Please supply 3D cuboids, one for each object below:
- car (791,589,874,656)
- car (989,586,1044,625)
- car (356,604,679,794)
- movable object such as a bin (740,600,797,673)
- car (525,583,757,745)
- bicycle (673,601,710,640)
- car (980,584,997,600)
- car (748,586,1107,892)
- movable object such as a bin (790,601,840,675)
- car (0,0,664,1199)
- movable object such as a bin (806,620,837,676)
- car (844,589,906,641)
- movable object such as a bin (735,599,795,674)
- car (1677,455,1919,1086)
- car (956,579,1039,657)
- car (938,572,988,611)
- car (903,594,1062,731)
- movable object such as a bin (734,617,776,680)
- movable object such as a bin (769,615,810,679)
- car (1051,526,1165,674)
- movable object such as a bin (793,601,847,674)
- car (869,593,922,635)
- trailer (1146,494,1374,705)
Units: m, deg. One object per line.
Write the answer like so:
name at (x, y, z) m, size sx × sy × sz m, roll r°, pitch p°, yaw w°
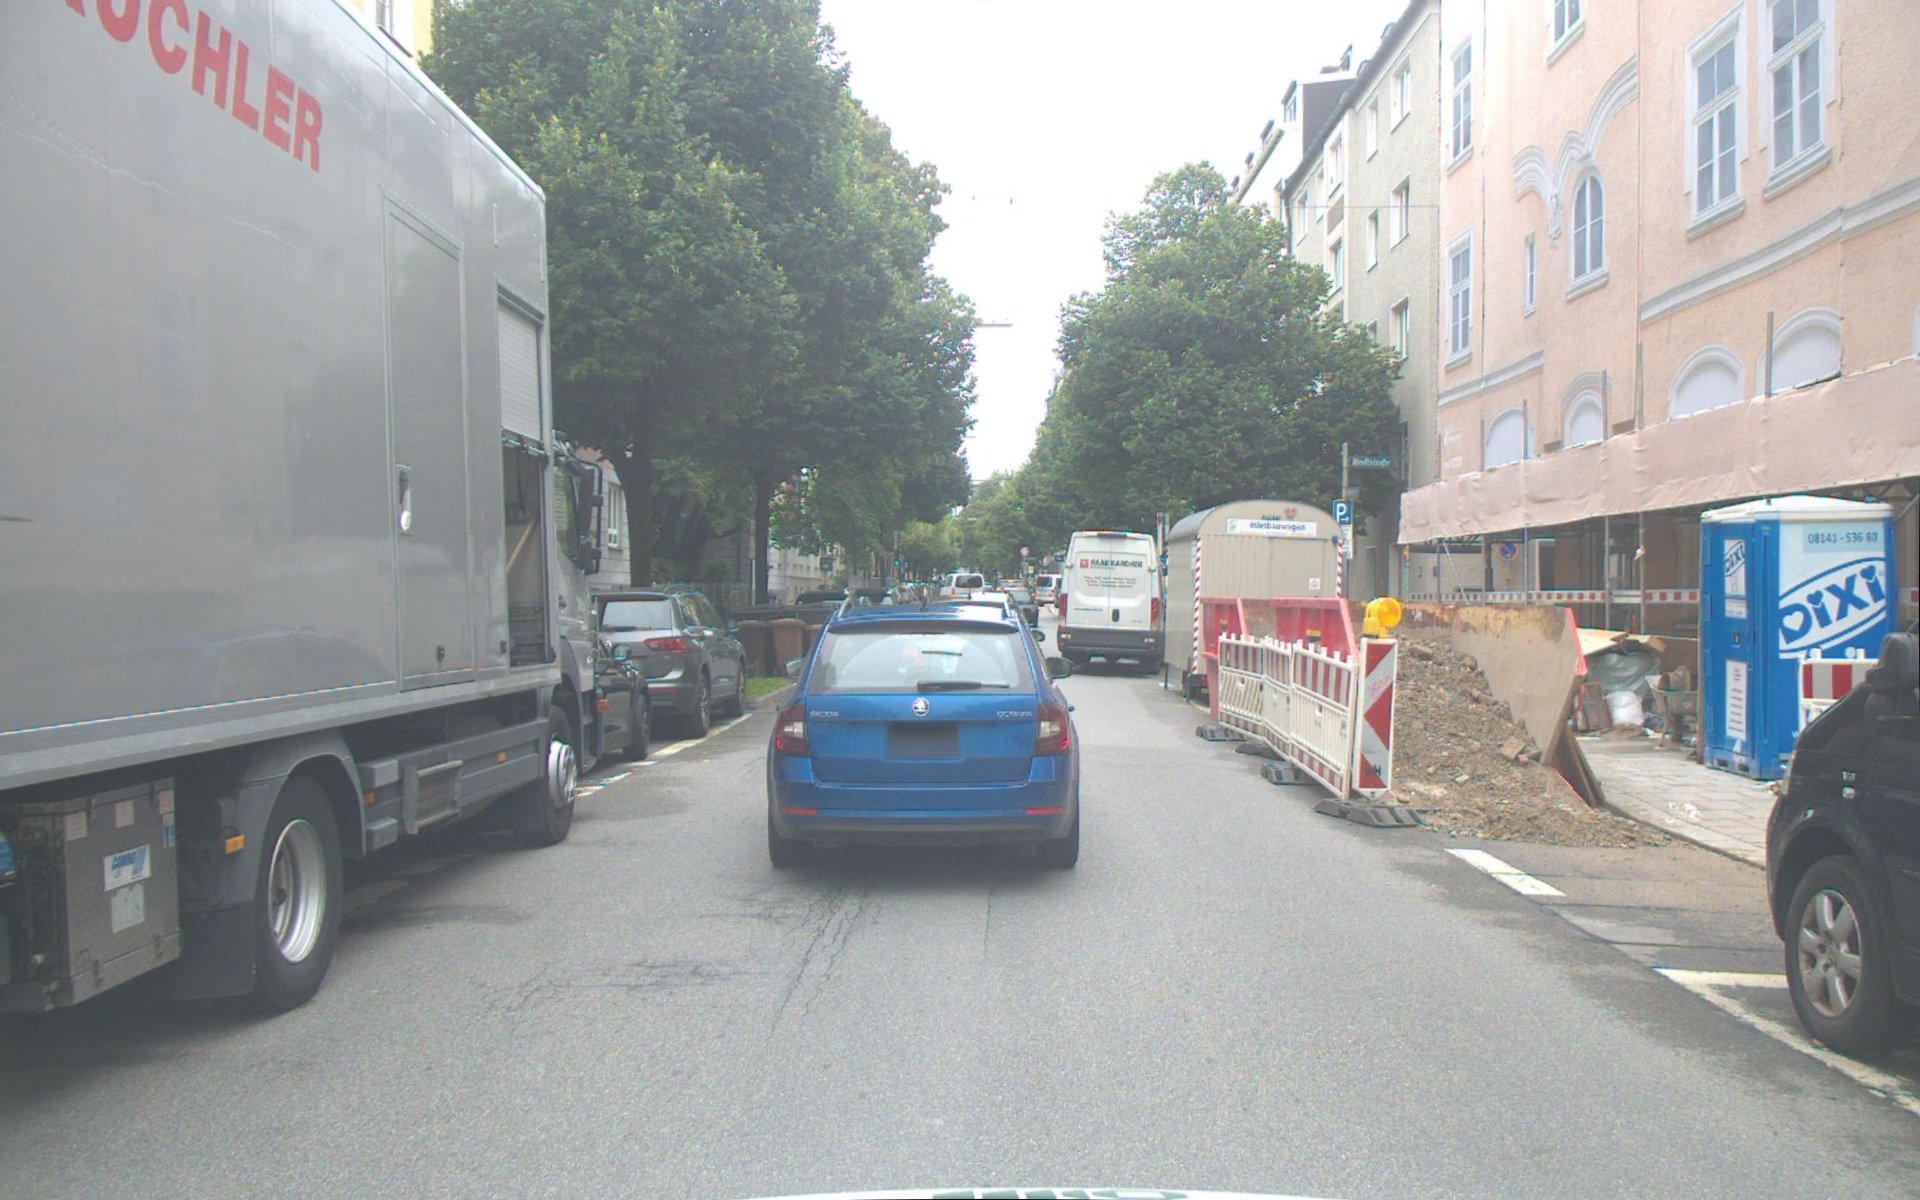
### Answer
car at (-3.061, 0.509, 40.377) m, size 1.775 × 1.504 × 3.999 m, roll 1°, pitch 0°, yaw -1°
car at (2.161, 0.192, 64.011) m, size 1.830 × 1.371 × 4.346 m, roll 1°, pitch 1°, yaw -2°
car at (-3.689, 0.757, 14.439) m, size 1.664 × 1.434 × 3.709 m, roll 0°, pitch 0°, yaw 3°
movable object such as a bin at (-3.875, 0.726, 33.580) m, size 1.036 × 1.400 × 1.095 m, roll -2°, pitch 0°, yaw -3°
car at (-3.570, 0.656, 19.247) m, size 1.748 × 1.657 × 4.186 m, roll -1°, pitch 0°, yaw 2°
bicycle at (-7.918, 0.601, 48.773) m, size 0.621 × 1.086 × 2.388 m, roll -1°, pitch 0°, yaw 2°
car at (3.326, -0.966, 193.142) m, size 1.829 × 1.770 × 4.347 m, roll 0°, pitch 0°, yaw 0°
car at (-0.181, 0.677, 10.248) m, size 1.753 × 1.486 × 4.314 m, roll 0°, pitch 0°, yaw -1°
movable object such as a bin at (-2.845, 0.741, 32.555) m, size 0.899 × 1.400 × 1.079 m, roll -2°, pitch 0°, yaw -3°
car at (-3.562, -0.464, 7.579) m, size 2.755 × 3.884 × 8.723 m, roll 0°, pitch 0°, yaw 1°
movable object such as a bin at (-2.655, 0.918, 31.699) m, size 0.535 × 1.038 × 0.636 m, roll -2°, pitch 0°, yaw -2°
car at (-2.591, 0.442, 51.107) m, size 1.775 × 1.504 × 3.999 m, roll 1°, pitch 0°, yaw -1°
movable object such as a bin at (-3.822, 0.705, 32.479) m, size 1.060 × 1.400 × 1.083 m, roll -2°, pitch 0°, yaw -3°
car at (3.980, 0.520, 4.427) m, size 2.039 × 1.955 × 5.141 m, roll 1°, pitch -2°, yaw 2°
car at (0.861, 0.374, 39.605) m, size 1.829 × 1.726 × 4.347 m, roll 1°, pitch 1°, yaw 0°
car at (0.113, -0.477, 84.880) m, size 1.833 × 1.902 × 4.338 m, roll 1°, pitch 1°, yaw -10°
car at (0.302, 0.680, 19.867) m, size 1.705 × 1.446 × 3.665 m, roll 1°, pitch 0°, yaw 2°
movable object such as a bin at (-3.916, 0.917, 31.592) m, size 0.706 × 1.158 × 0.658 m, roll -2°, pitch 0°, yaw -3°
movable object such as a bin at (-3.261, 0.895, 31.642) m, size 0.697 × 1.168 × 0.636 m, roll -2°, pitch 0°, yaw -3°
car at (3.091, 0.013, 33.703) m, size 2.068 × 2.710 × 5.504 m, roll 1°, pitch 0°, yaw 7°
movable object such as a bin at (-2.840, 0.752, 33.653) m, size 1.000 × 1.400 × 1.103 m, roll -2°, pitch 0°, yaw -3°
car at (-2.445, 0.499, 63.149) m, size 1.775 × 1.504 × 4.001 m, roll 1°, pitch 0°, yaw 1°
trailer at (4.590, 0.014, 26.594) m, size 2.450 × 2.889 × 6.902 m, roll 1°, pitch 0°, yaw 1°
